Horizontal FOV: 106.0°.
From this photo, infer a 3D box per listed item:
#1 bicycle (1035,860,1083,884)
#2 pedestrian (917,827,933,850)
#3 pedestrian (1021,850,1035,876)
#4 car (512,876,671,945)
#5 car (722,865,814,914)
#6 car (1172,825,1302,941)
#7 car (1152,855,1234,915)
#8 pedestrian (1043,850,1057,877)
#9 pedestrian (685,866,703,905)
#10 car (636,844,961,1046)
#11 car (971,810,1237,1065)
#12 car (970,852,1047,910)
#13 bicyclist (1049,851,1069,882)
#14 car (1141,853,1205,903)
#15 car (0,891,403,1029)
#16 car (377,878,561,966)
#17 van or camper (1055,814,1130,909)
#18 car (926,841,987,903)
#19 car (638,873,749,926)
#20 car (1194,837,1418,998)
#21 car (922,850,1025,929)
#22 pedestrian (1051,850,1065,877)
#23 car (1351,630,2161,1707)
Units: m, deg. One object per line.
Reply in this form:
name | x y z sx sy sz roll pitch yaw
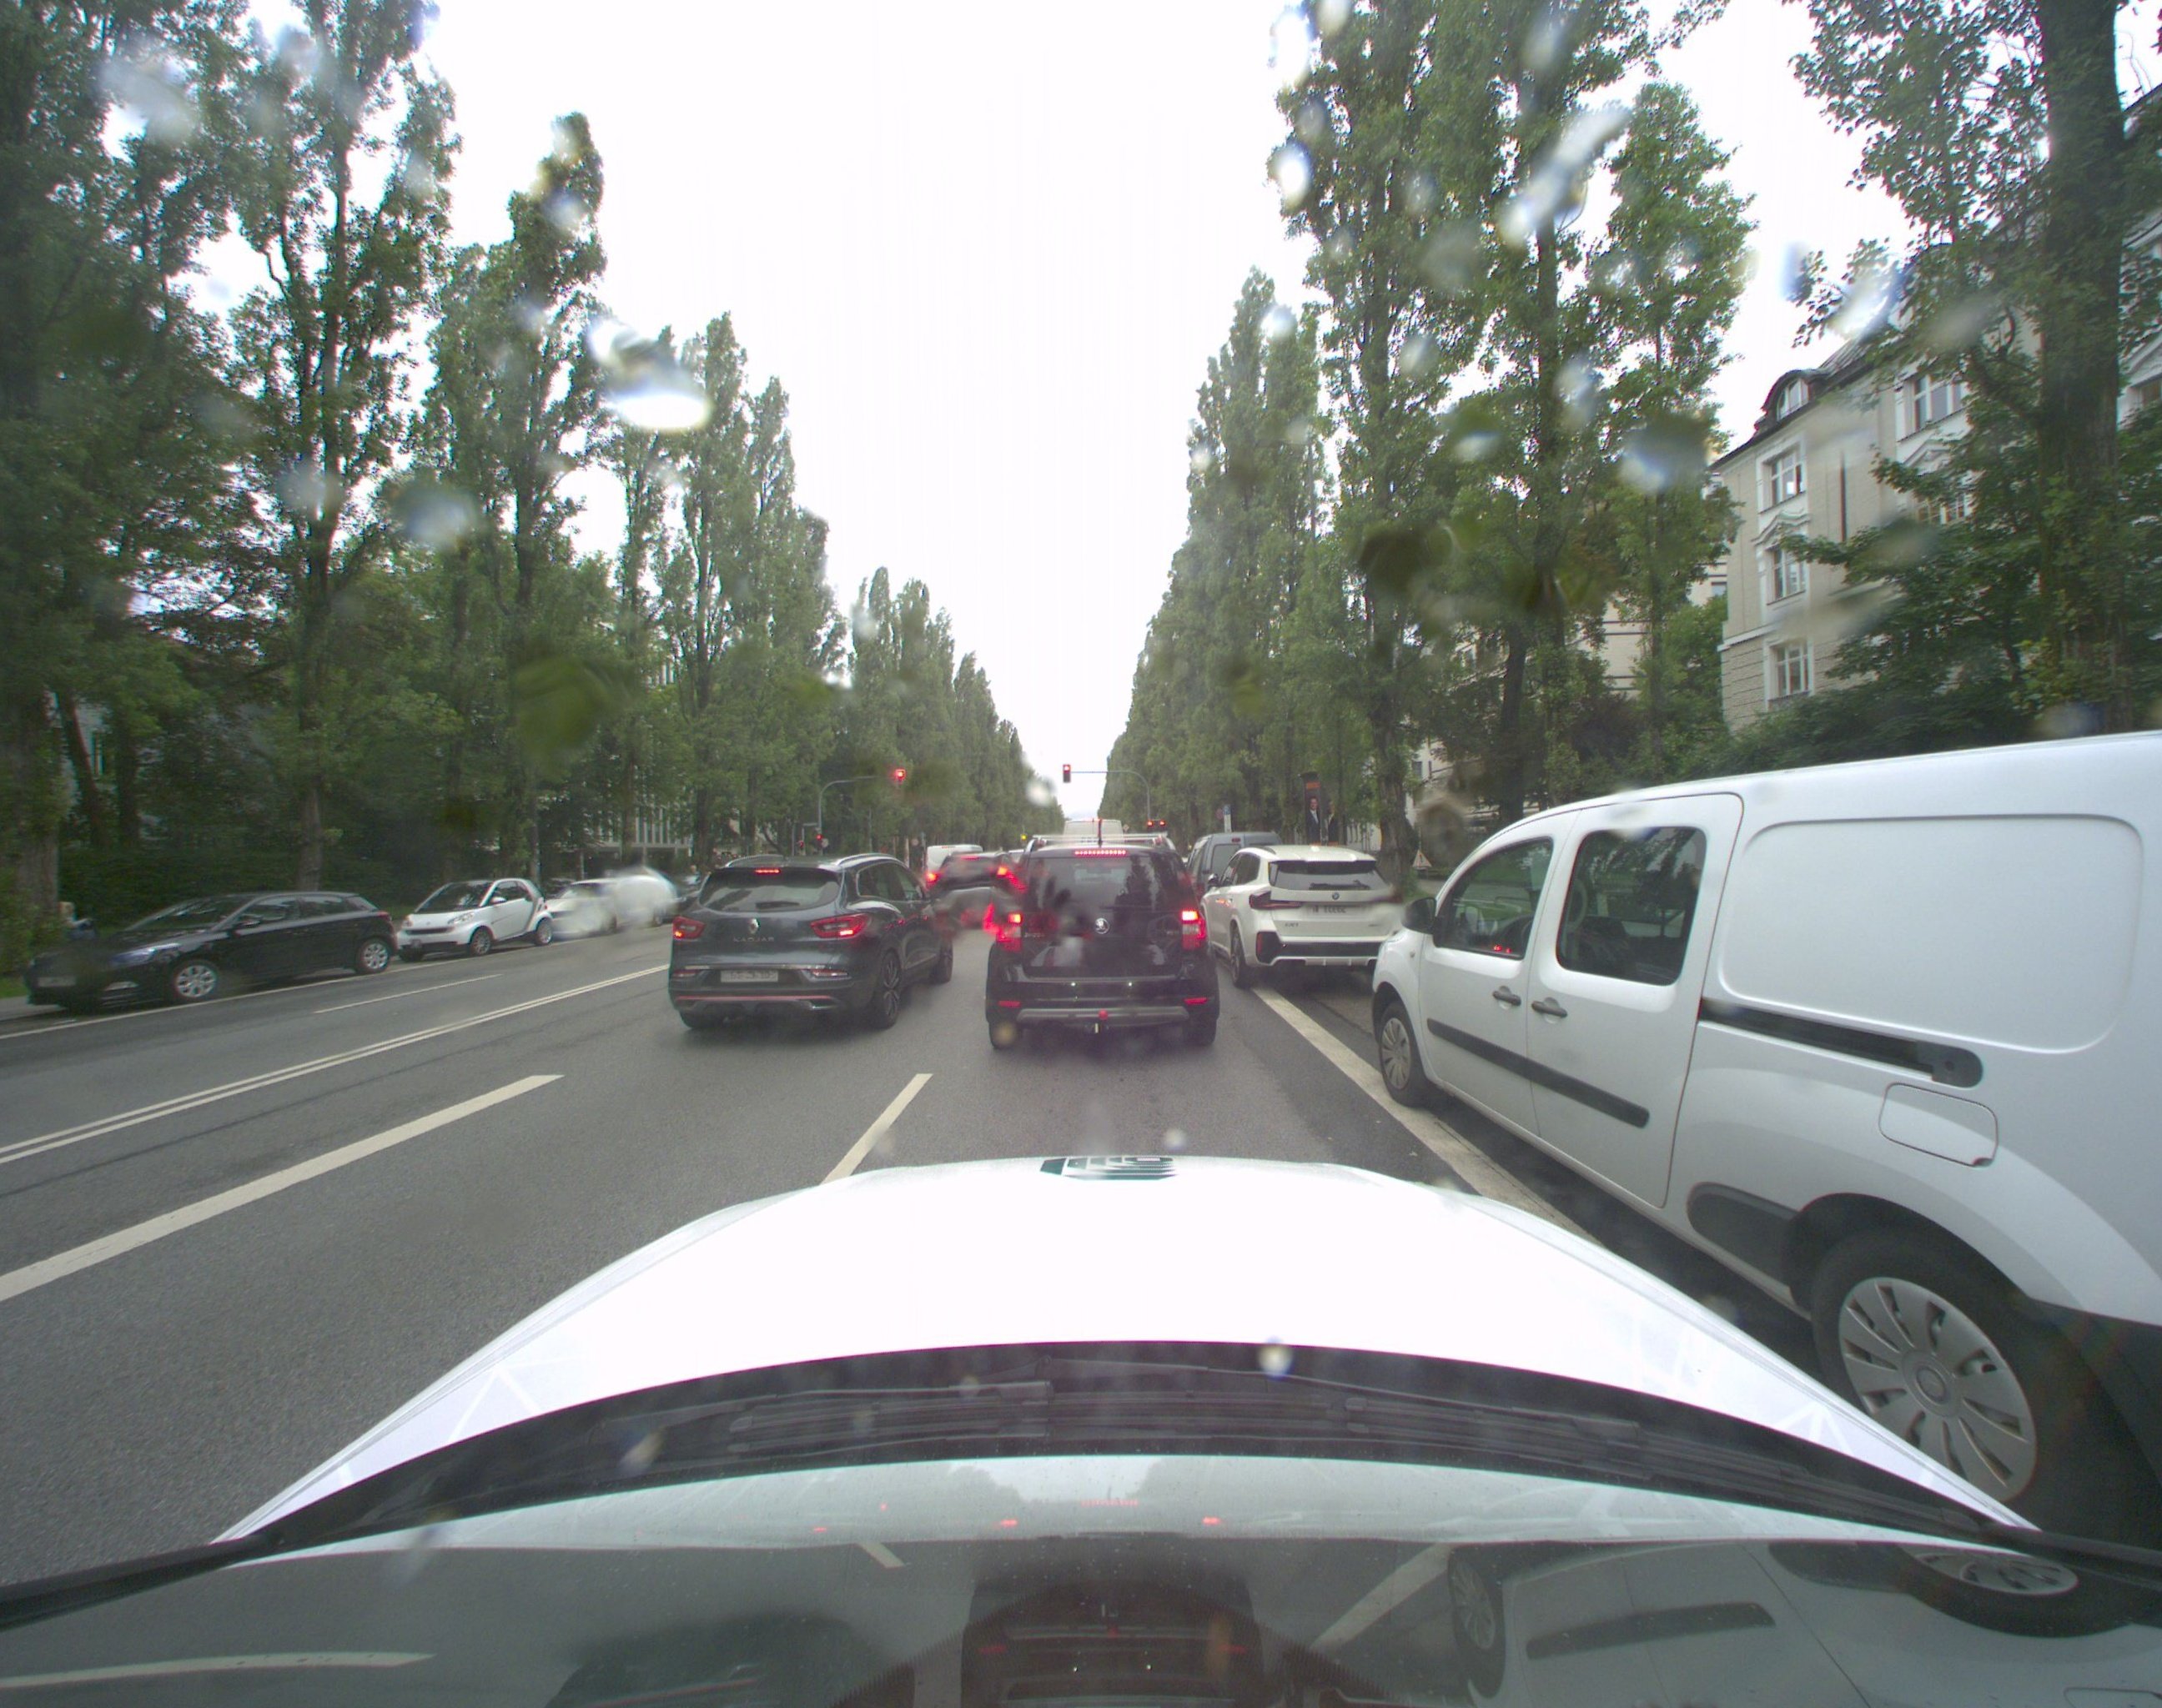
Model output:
bicycle | -1.242 0.996 45.974 2.519 1.237 0.815 -2 0 10
pedestrian | -12.166 -1.178 63.492 0.875 1.764 0.880 -2 0 10
pedestrian | -4.174 0.730 64.473 0.881 2.013 1.014 -2 0 4
car | -12.518 1.386 21.167 1.619 1.389 4.164 -4 0 -2
car | -12.407 1.355 32.624 1.844 1.654 4.693 -4 0 -2
car | 2.852 0.485 15.730 1.729 1.895 4.025 -2 0 1
car | 2.909 0.759 21.804 1.729 1.387 3.563 -2 0 1
pedestrian | -2.329 0.693 61.493 0.881 2.013 1.014 -2 0 4
pedestrian | -15.347 1.245 32.274 0.463 1.528 0.395 -2 0 1
car | -2.543 0.715 8.529 1.828 1.586 4.187 0 0 2
car | 0.203 0.581 7.669 1.849 1.770 4.001 0 0 1
car | -2.189 0.767 25.496 1.987 1.560 4.000 -2 0 0
bicyclist | -1.241 0.709 45.963 0.900 1.722 0.827 -2 0 10
car | 2.982 0.735 27.107 1.729 1.475 3.563 -2 0 1
car | -12.576 1.405 12.075 1.594 1.425 3.853 -4 0 2
car | -12.526 1.325 16.888 1.423 1.447 2.966 -5 0 0
van or camper | 0.299 0.199 24.483 1.969 2.548 4.023 -2 0 -1
car | -4.645 0.648 30.902 1.777 2.111 4.021 -2 0 -2
car | -12.551 1.411 26.674 1.619 1.389 4.164 -4 0 -2
car | 2.598 0.642 10.457 1.735 1.593 4.212 -2 0 1
car | -2.344 0.715 18.767 1.775 1.620 4.025 0 0 1
pedestrian | -1.783 0.698 62.649 0.881 2.013 1.014 -2 0 4
car | 2.750 0.527 3.379 1.845 1.881 4.168 -2 0 0
